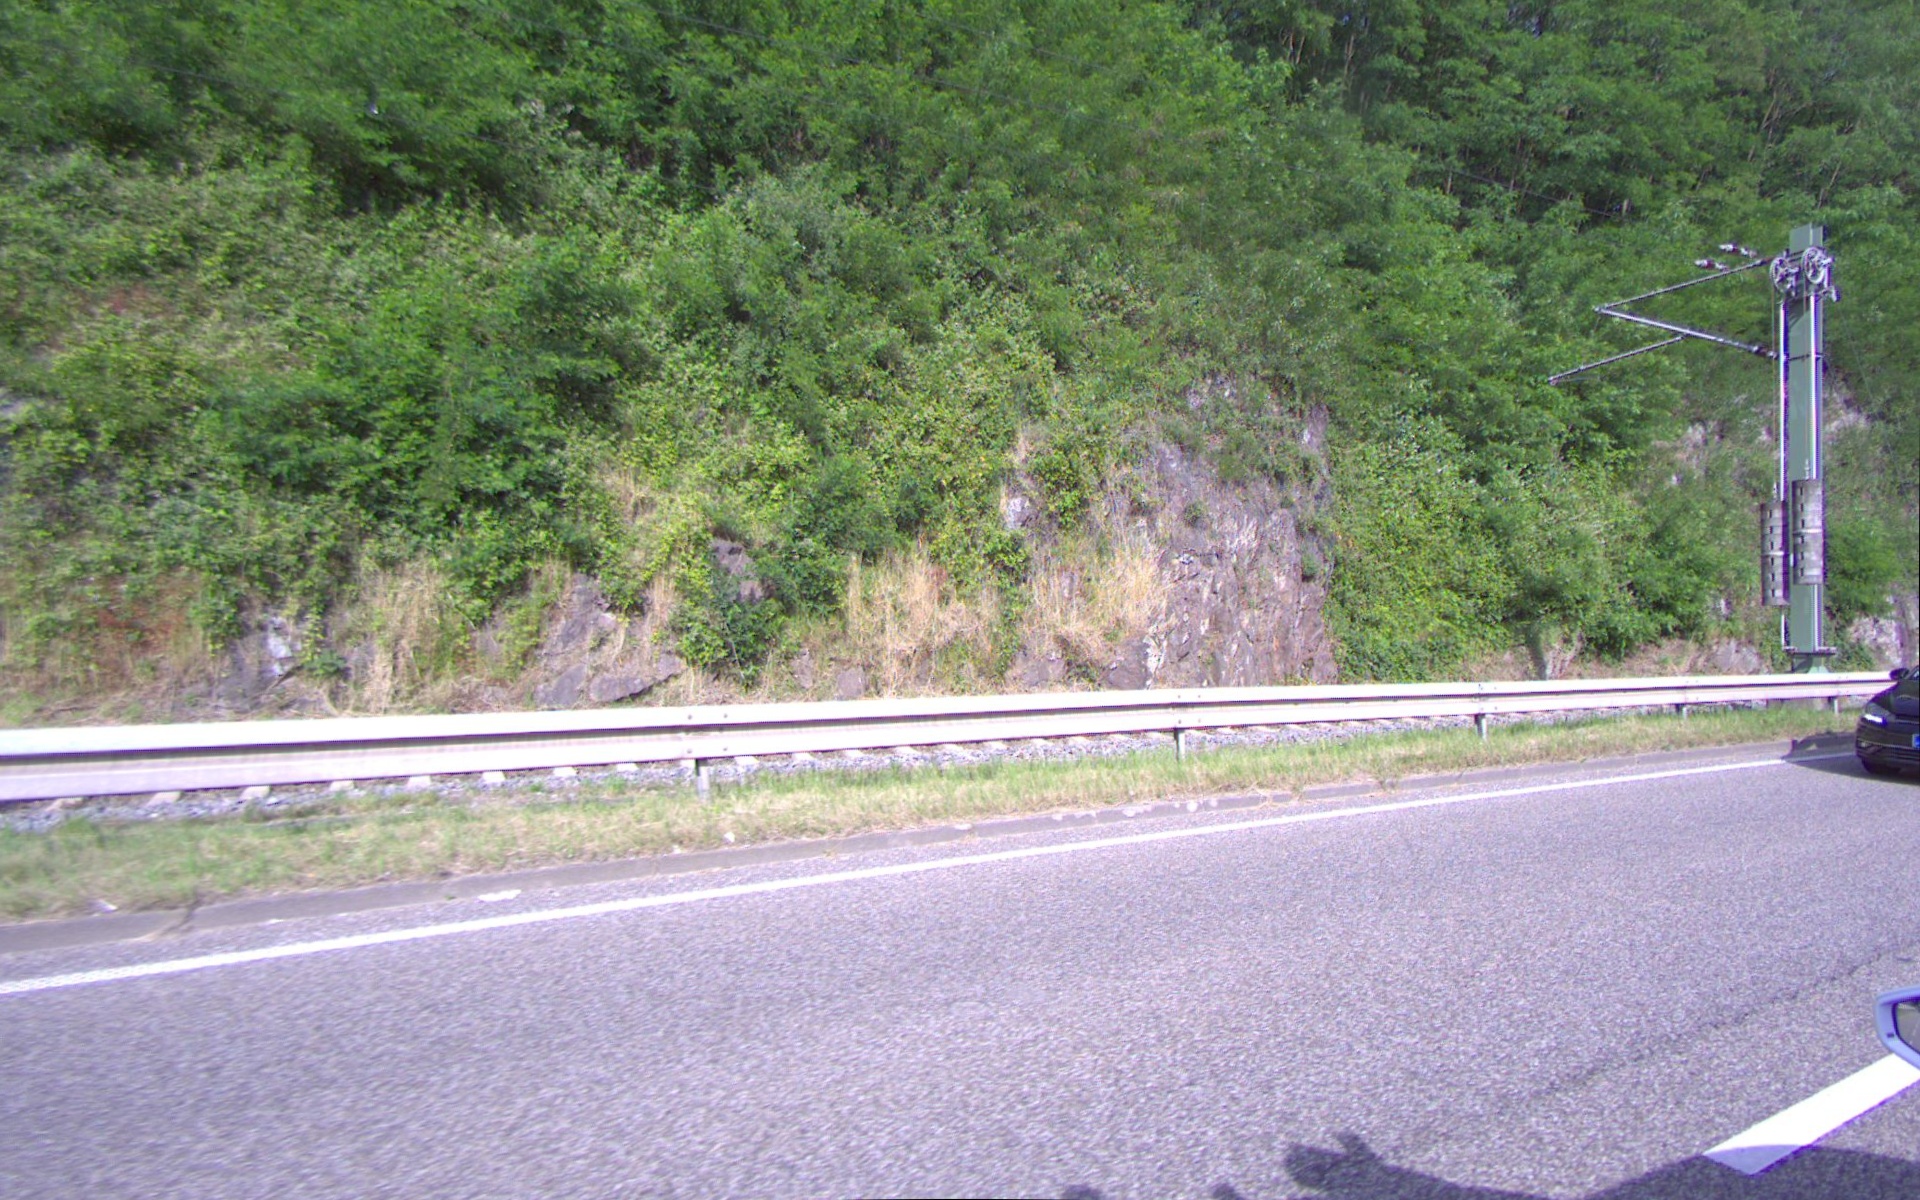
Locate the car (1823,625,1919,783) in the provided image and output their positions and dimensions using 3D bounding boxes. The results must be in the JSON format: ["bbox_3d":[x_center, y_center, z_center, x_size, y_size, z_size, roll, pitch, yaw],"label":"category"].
[{"bbox_3d":[10.722,1.016,10.169,3.850,1.459,1.839,1,-1,-30],"label":"car"}]
